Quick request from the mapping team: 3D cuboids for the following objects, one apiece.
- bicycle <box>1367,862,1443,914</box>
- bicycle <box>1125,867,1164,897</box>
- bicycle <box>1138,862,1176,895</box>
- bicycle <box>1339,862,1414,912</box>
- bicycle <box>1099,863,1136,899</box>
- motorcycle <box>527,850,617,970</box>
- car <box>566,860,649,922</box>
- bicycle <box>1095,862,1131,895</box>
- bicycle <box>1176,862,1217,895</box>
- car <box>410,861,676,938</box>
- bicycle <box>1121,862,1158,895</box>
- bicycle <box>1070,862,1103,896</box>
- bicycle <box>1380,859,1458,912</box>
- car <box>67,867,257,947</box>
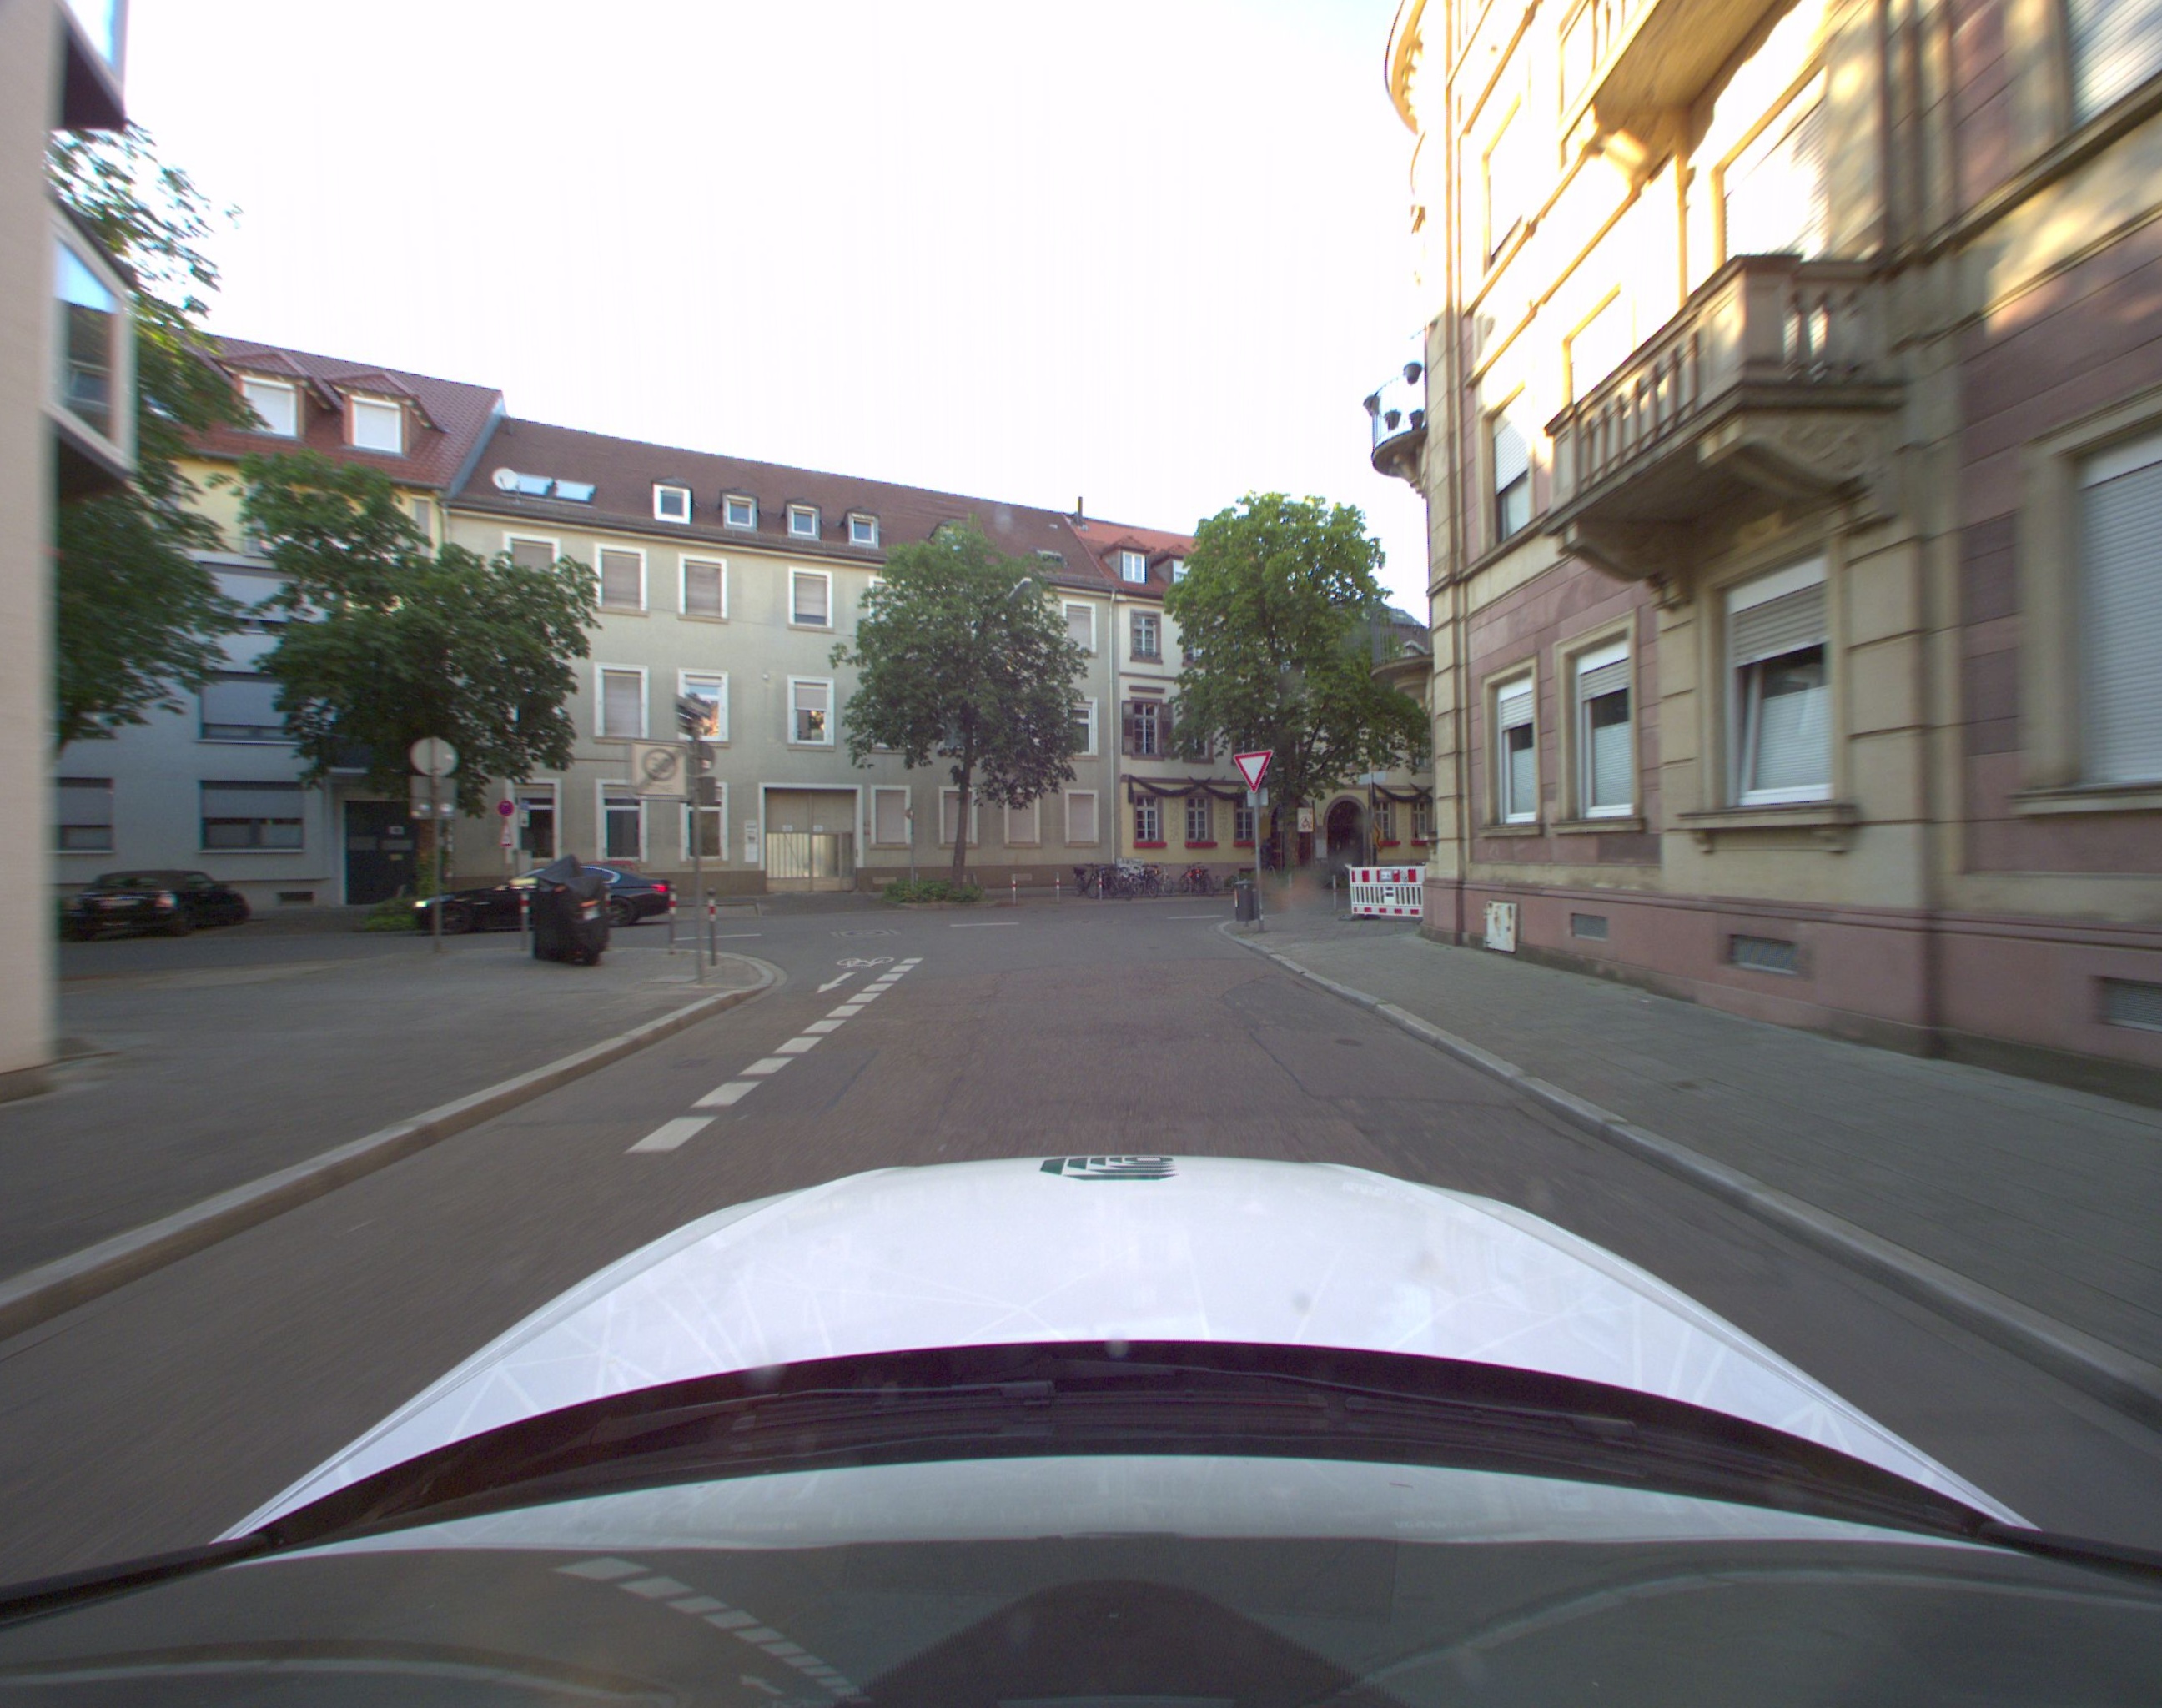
[{"bbox_3d":[7.459,0.765,18.741,1.872,1.089,0.362,-2,-2,-23],"label":"bicycle"},{"bbox_3d":[2.151,0.945,27.993,0.422,1.004,2.026,-1,0,-24],"label":"bicycle"},{"bbox_3d":[2.759,0.876,29.672,0.422,1.145,2.026,-1,0,-24],"label":"bicycle"},{"bbox_3d":[7.004,0.772,19.295,1.872,1.089,0.362,-2,-2,-23],"label":"bicycle"},{"bbox_3d":[1.198,0.876,27.189,0.446,1.145,2.027,-1,0,-22],"label":"bicycle"},{"bbox_3d":[-7.264,0.742,11.570,0.673,1.555,2.136,-1,-1,-43],"label":"motorcycle"},{"bbox_3d":[-12.625,0.922,21.888,1.568,1.475,3.638,-1,0,-25],"label":"car"},{"bbox_3d":[1.112,0.848,28.802,0.422,1.145,2.026,-1,0,-24],"label":"bicycle"},{"bbox_3d":[4.114,0.850,29.178,0.422,1.145,2.026,-1,0,-24],"label":"bicycle"},{"bbox_3d":[-11.546,0.921,17.945,4.678,1.450,1.753,-1,0,-27],"label":"car"},{"bbox_3d":[2.102,0.868,29.432,0.422,1.145,2.026,-1,0,-24],"label":"bicycle"},{"bbox_3d":[0.175,0.855,28.392,0.446,1.145,2.029,-1,0,-19],"label":"bicycle"},{"bbox_3d":[7.585,0.691,18.249,1.872,1.089,0.362,-2,-2,-23],"label":"bicycle"},{"bbox_3d":[-20.715,1.109,18.570,1.631,1.427,3.682,-1,2,-28],"label":"car"}]
